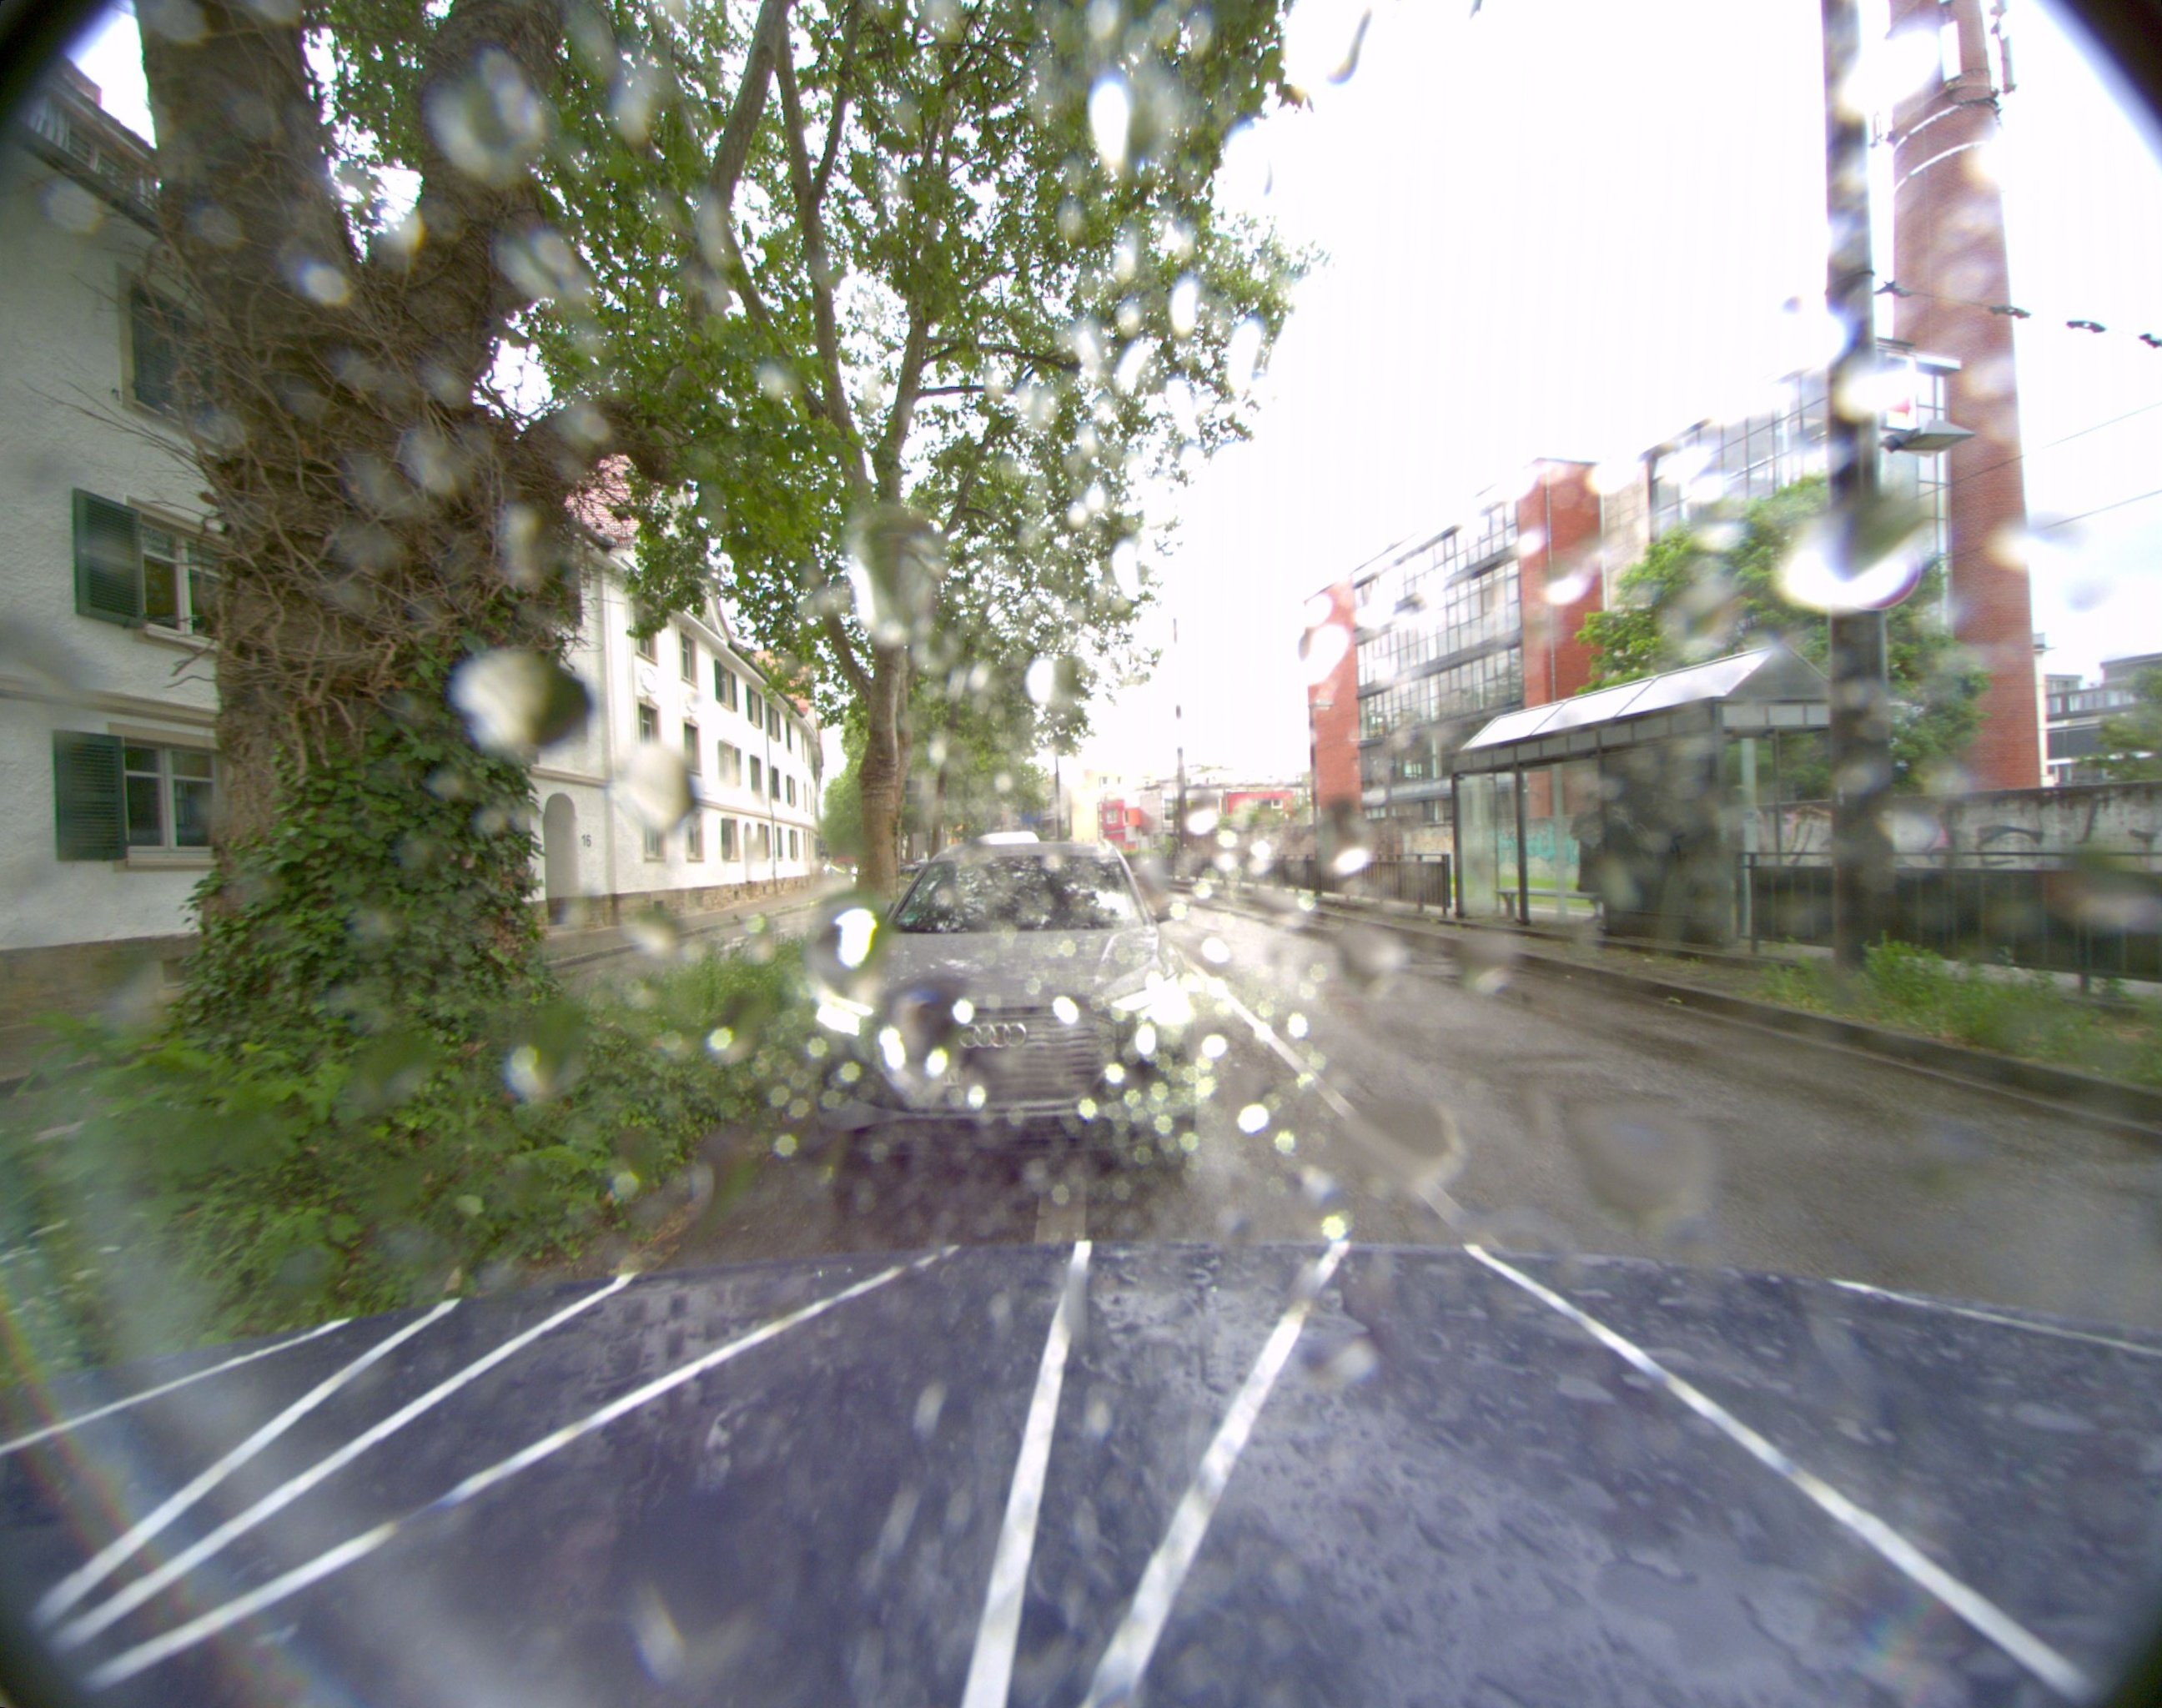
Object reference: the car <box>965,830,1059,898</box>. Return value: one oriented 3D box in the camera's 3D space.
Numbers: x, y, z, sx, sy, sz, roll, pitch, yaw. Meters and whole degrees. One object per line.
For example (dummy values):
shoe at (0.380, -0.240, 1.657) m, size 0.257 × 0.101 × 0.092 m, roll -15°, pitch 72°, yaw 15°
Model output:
car at (-2.741, 0.351, 28.681) m, size 2.198 × 2.250 × 5.403 m, roll -3°, pitch 1°, yaw -19°

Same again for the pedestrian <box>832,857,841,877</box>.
pedestrian at (-22.387, 1.214, 69.637) m, size 0.674 × 1.811 × 0.678 m, roll -3°, pitch 2°, yaw -18°

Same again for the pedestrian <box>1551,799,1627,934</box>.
pedestrian at (6.740, 0.162, 10.103) m, size 0.629 × 1.738 × 0.564 m, roll -2°, pitch 1°, yaw 9°

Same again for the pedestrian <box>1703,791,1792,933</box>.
pedestrian at (7.805, 0.077, 8.905) m, size 0.716 × 1.594 × 0.494 m, roll -3°, pitch 2°, yaw -22°

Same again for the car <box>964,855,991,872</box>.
car at (-9.821, 0.877, 71.920) m, size 1.721 × 1.451 × 3.741 m, roll -3°, pitch 1°, yaw -21°

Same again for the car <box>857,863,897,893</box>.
car at (-11.670, 1.332, 43.710) m, size 1.832 × 1.517 × 3.996 m, roll -2°, pitch 1°, yaw -10°

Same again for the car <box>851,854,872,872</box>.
car at (-26.230, 1.026, 90.739) m, size 2.002 × 2.001 × 3.993 m, roll 3°, pitch -1°, yaw -20°

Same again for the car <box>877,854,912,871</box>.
car at (-23.225, 1.049, 94.710) m, size 4.002 × 2.002 × 1.997 m, roll -2°, pitch 0°, yaw -17°

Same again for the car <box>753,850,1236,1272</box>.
car at (-0.405, 0.837, 5.179) m, size 1.917 × 1.632 × 4.106 m, roll -2°, pitch 1°, yaw -2°
